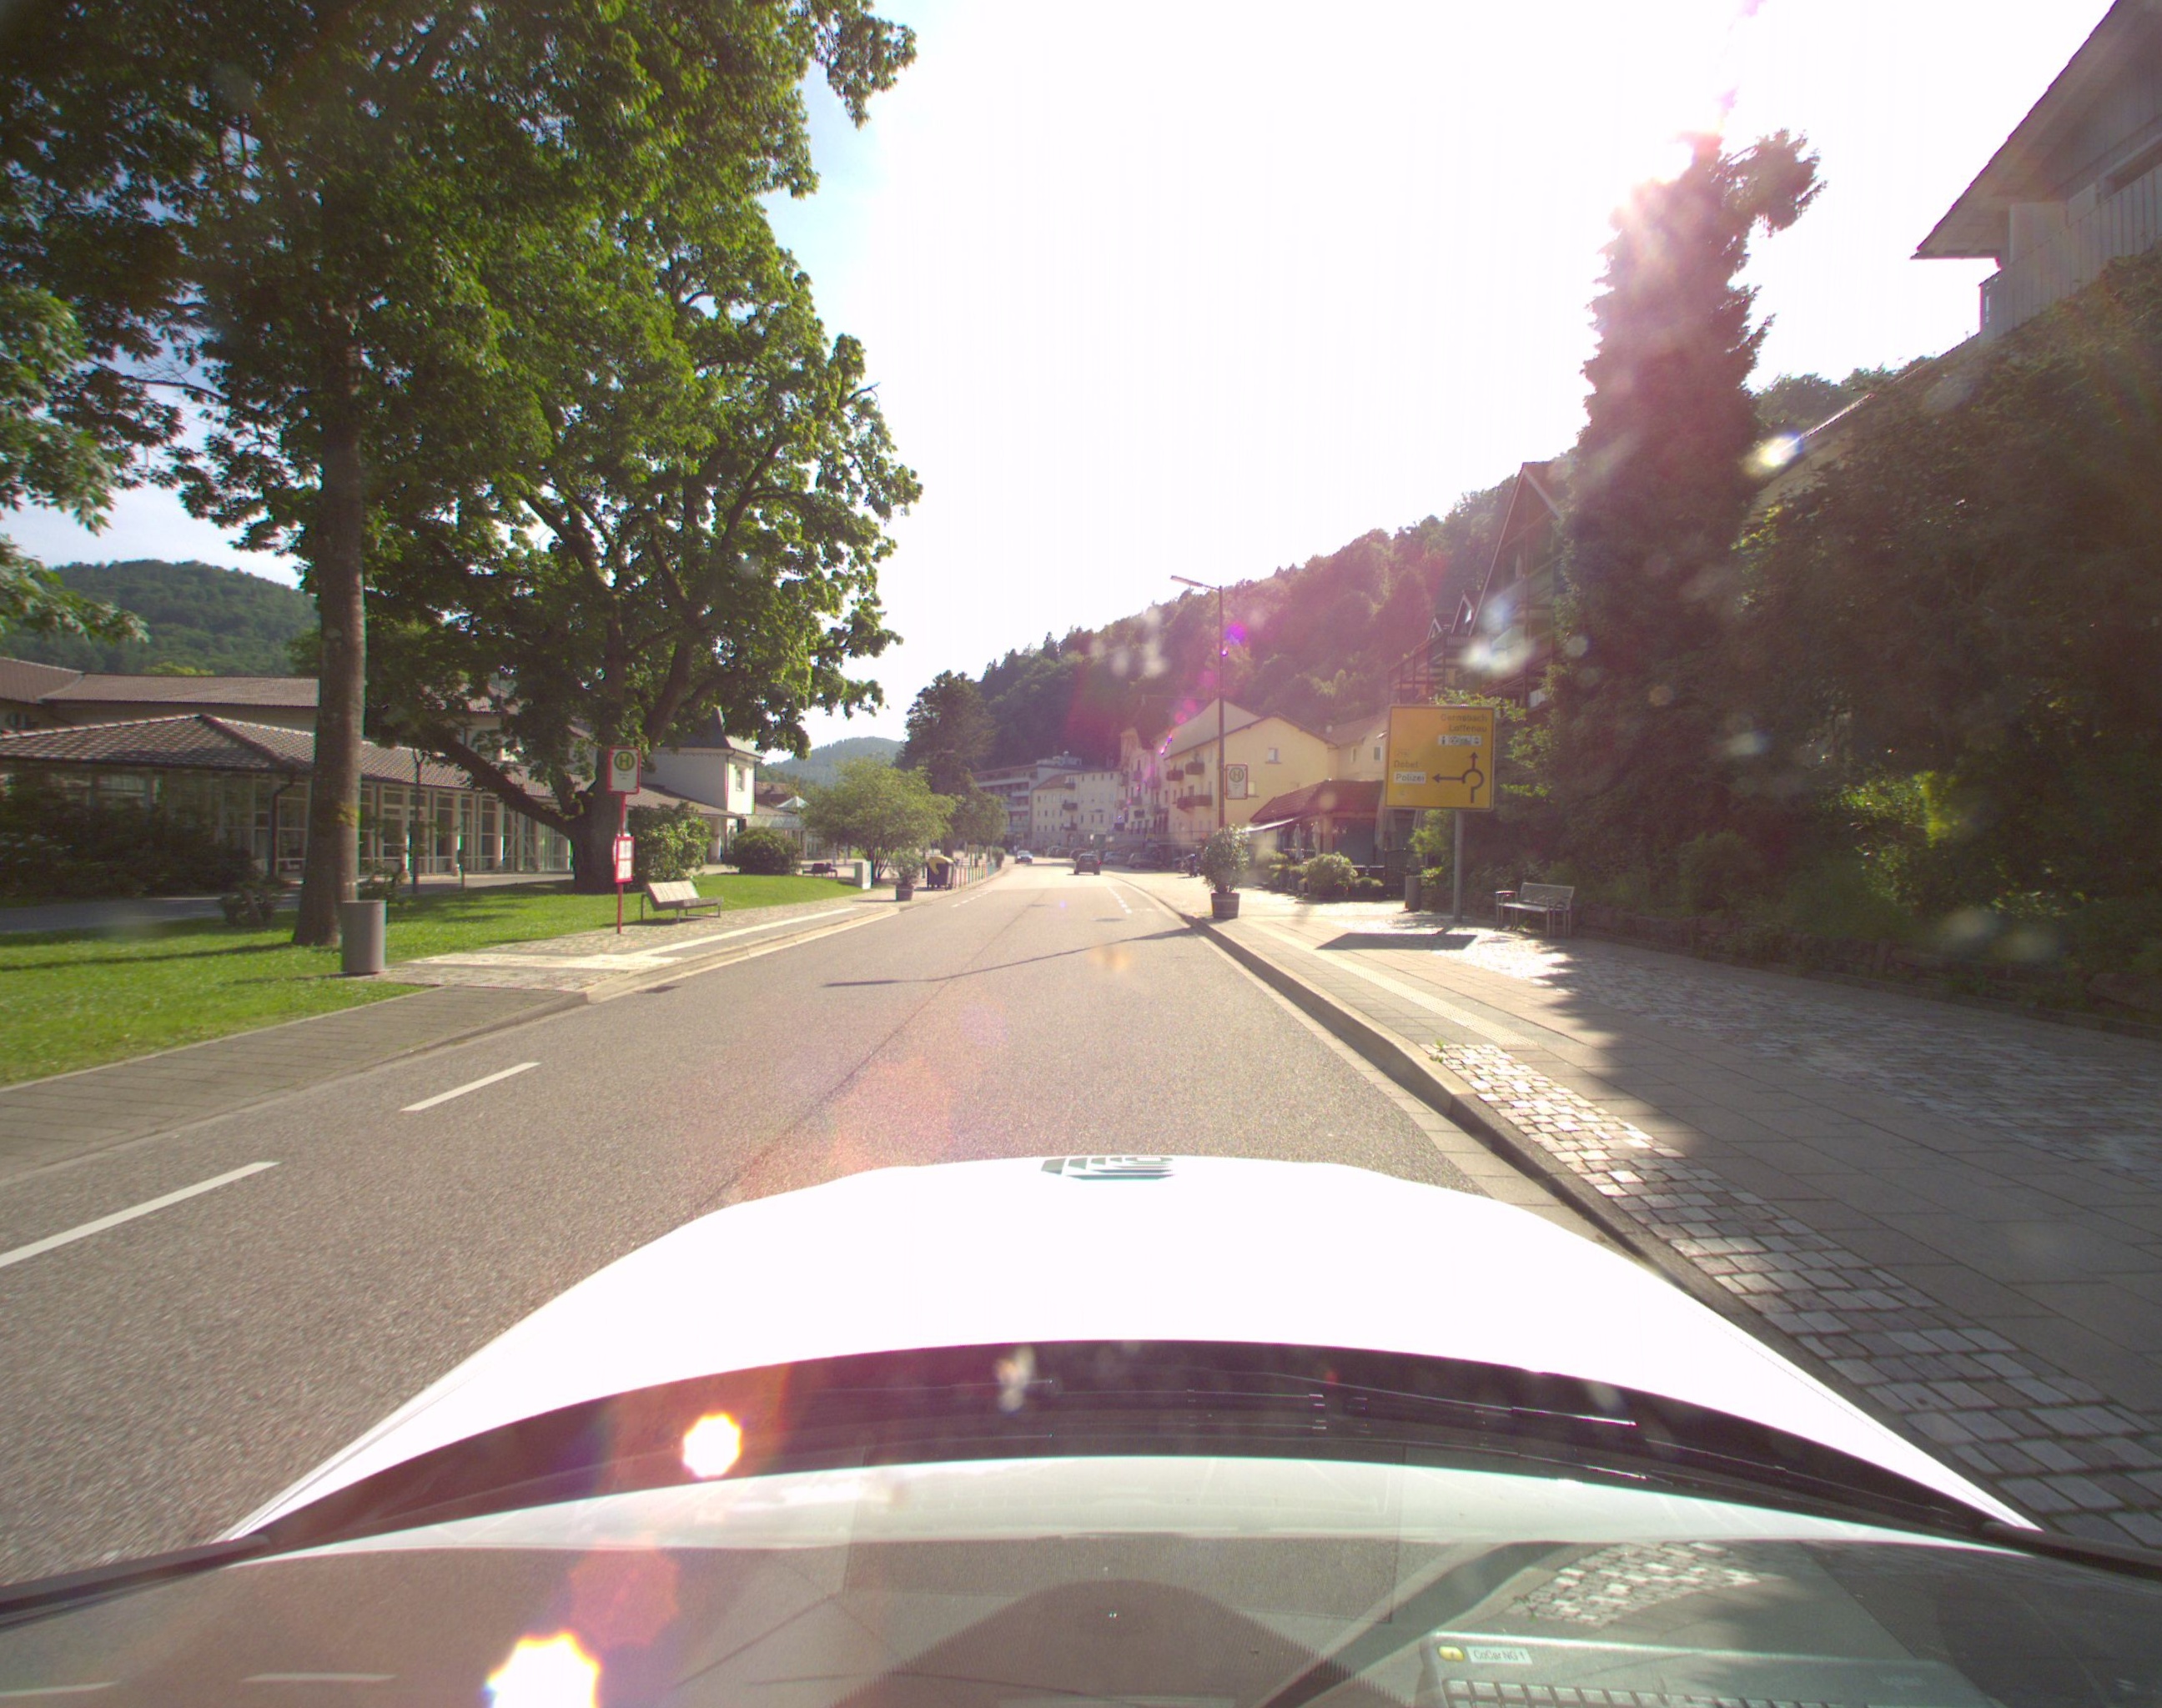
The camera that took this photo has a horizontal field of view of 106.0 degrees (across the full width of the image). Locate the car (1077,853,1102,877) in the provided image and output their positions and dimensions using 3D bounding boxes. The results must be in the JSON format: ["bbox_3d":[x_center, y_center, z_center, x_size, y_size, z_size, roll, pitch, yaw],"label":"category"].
[{"bbox_3d":[0.597,0.778,60.818,1.722,1.574,3.751,2,2,-2],"label":"car"}]

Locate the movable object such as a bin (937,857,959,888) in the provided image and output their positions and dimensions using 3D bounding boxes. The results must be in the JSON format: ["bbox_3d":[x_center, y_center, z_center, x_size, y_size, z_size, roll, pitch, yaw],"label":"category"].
[{"bbox_3d":[-6.095,0.838,37.415,0.753,1.341,1.294,3,0,-1],"label":"movable object such as a bin"}]

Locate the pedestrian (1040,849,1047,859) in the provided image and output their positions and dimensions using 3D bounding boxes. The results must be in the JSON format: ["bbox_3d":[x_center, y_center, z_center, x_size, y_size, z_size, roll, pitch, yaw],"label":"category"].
[{"bbox_3d":[-5.628,0.033,121.716,0.740,1.442,0.626,-1,1,-34],"label":"pedestrian"}]

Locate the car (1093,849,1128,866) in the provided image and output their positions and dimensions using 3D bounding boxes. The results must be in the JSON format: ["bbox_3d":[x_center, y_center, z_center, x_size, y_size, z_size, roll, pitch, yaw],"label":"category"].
[{"bbox_3d":[3.559,0.397,98.953,3.907,1.804,1.852,4,-1,-8],"label":"car"}]

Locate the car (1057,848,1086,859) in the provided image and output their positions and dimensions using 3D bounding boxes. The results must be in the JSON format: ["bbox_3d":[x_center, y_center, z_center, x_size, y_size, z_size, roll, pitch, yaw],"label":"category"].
[{"bbox_3d":[-1.477,-0.075,123.836,4.033,1.516,1.757,-2,3,-29],"label":"car"}]

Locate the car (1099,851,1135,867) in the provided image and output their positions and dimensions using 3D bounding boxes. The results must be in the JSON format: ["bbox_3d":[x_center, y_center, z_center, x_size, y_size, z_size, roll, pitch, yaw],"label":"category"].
[{"bbox_3d":[4.288,0.607,96.253,3.907,1.589,1.770,3,0,-8],"label":"car"}]

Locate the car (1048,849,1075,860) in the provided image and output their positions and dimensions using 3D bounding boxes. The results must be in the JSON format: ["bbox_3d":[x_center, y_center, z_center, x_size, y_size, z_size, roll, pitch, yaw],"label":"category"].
[{"bbox_3d":[-3.001,0.128,127.808,3.884,1.549,1.757,-2,3,-29],"label":"car"}]

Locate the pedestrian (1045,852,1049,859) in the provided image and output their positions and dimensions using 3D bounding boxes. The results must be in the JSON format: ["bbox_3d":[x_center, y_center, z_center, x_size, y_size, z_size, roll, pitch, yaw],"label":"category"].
[{"bbox_3d":[-5.136,0.213,121.973,0.420,1.002,0.525,-1,1,-34],"label":"pedestrian"}]

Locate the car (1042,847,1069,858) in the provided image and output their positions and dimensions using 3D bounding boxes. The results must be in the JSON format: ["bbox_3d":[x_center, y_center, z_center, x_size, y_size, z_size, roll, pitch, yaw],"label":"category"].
[{"bbox_3d":[-4.122,-0.198,130.860,3.884,1.612,1.757,-2,3,-29],"label":"car"}]

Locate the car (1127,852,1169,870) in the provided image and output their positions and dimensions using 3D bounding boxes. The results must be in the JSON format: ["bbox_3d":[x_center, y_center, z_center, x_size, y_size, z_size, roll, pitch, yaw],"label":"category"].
[{"bbox_3d":[6.765,0.735,82.614,3.860,1.554,1.754,3,0,-11],"label":"car"}]

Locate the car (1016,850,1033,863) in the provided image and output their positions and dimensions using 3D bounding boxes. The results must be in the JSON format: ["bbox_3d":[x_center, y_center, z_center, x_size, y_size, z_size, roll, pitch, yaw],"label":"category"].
[{"bbox_3d":[-6.503,0.280,94.373,1.737,1.462,4.183,-1,0,-2],"label":"car"}]

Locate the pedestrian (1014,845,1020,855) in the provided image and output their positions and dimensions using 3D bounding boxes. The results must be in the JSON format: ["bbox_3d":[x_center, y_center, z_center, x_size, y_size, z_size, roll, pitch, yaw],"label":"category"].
[{"bbox_3d":[-10.947,-0.664,138.810,0.762,1.593,0.622,1,0,-31],"label":"pedestrian"}]

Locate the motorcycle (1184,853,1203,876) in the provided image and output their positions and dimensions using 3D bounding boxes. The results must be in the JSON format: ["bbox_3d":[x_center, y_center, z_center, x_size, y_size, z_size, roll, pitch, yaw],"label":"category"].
[{"bbox_3d":[6.598,0.614,47.709,0.695,1.296,2.210,-2,0,-2],"label":"motorcycle"}]

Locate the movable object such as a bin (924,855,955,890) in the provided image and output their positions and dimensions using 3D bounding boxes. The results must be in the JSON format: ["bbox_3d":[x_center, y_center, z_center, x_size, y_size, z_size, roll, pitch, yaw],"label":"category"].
[{"bbox_3d":[-6.159,0.789,35.526,1.075,1.427,1.376,3,0,-1],"label":"movable object such as a bin"}]

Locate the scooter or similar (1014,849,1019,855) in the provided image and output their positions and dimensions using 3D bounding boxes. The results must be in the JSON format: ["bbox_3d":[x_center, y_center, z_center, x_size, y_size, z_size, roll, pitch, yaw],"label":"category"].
[{"bbox_3d":[-11.040,-0.339,138.956,0.600,0.950,0.470,1,0,-31],"label":"scooter or similar"}]

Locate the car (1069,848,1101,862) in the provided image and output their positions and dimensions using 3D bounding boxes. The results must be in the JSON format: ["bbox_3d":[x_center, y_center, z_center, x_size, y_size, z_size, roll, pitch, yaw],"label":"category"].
[{"bbox_3d":[0.559,0.087,112.807,4.081,1.666,1.768,4,0,-8],"label":"car"}]

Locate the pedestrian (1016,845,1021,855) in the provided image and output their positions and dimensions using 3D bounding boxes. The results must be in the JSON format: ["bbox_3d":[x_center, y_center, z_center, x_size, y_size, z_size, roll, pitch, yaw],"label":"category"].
[{"bbox_3d":[-10.750,-0.673,139.854,0.673,1.728,0.701,1,0,-31],"label":"pedestrian"}]
